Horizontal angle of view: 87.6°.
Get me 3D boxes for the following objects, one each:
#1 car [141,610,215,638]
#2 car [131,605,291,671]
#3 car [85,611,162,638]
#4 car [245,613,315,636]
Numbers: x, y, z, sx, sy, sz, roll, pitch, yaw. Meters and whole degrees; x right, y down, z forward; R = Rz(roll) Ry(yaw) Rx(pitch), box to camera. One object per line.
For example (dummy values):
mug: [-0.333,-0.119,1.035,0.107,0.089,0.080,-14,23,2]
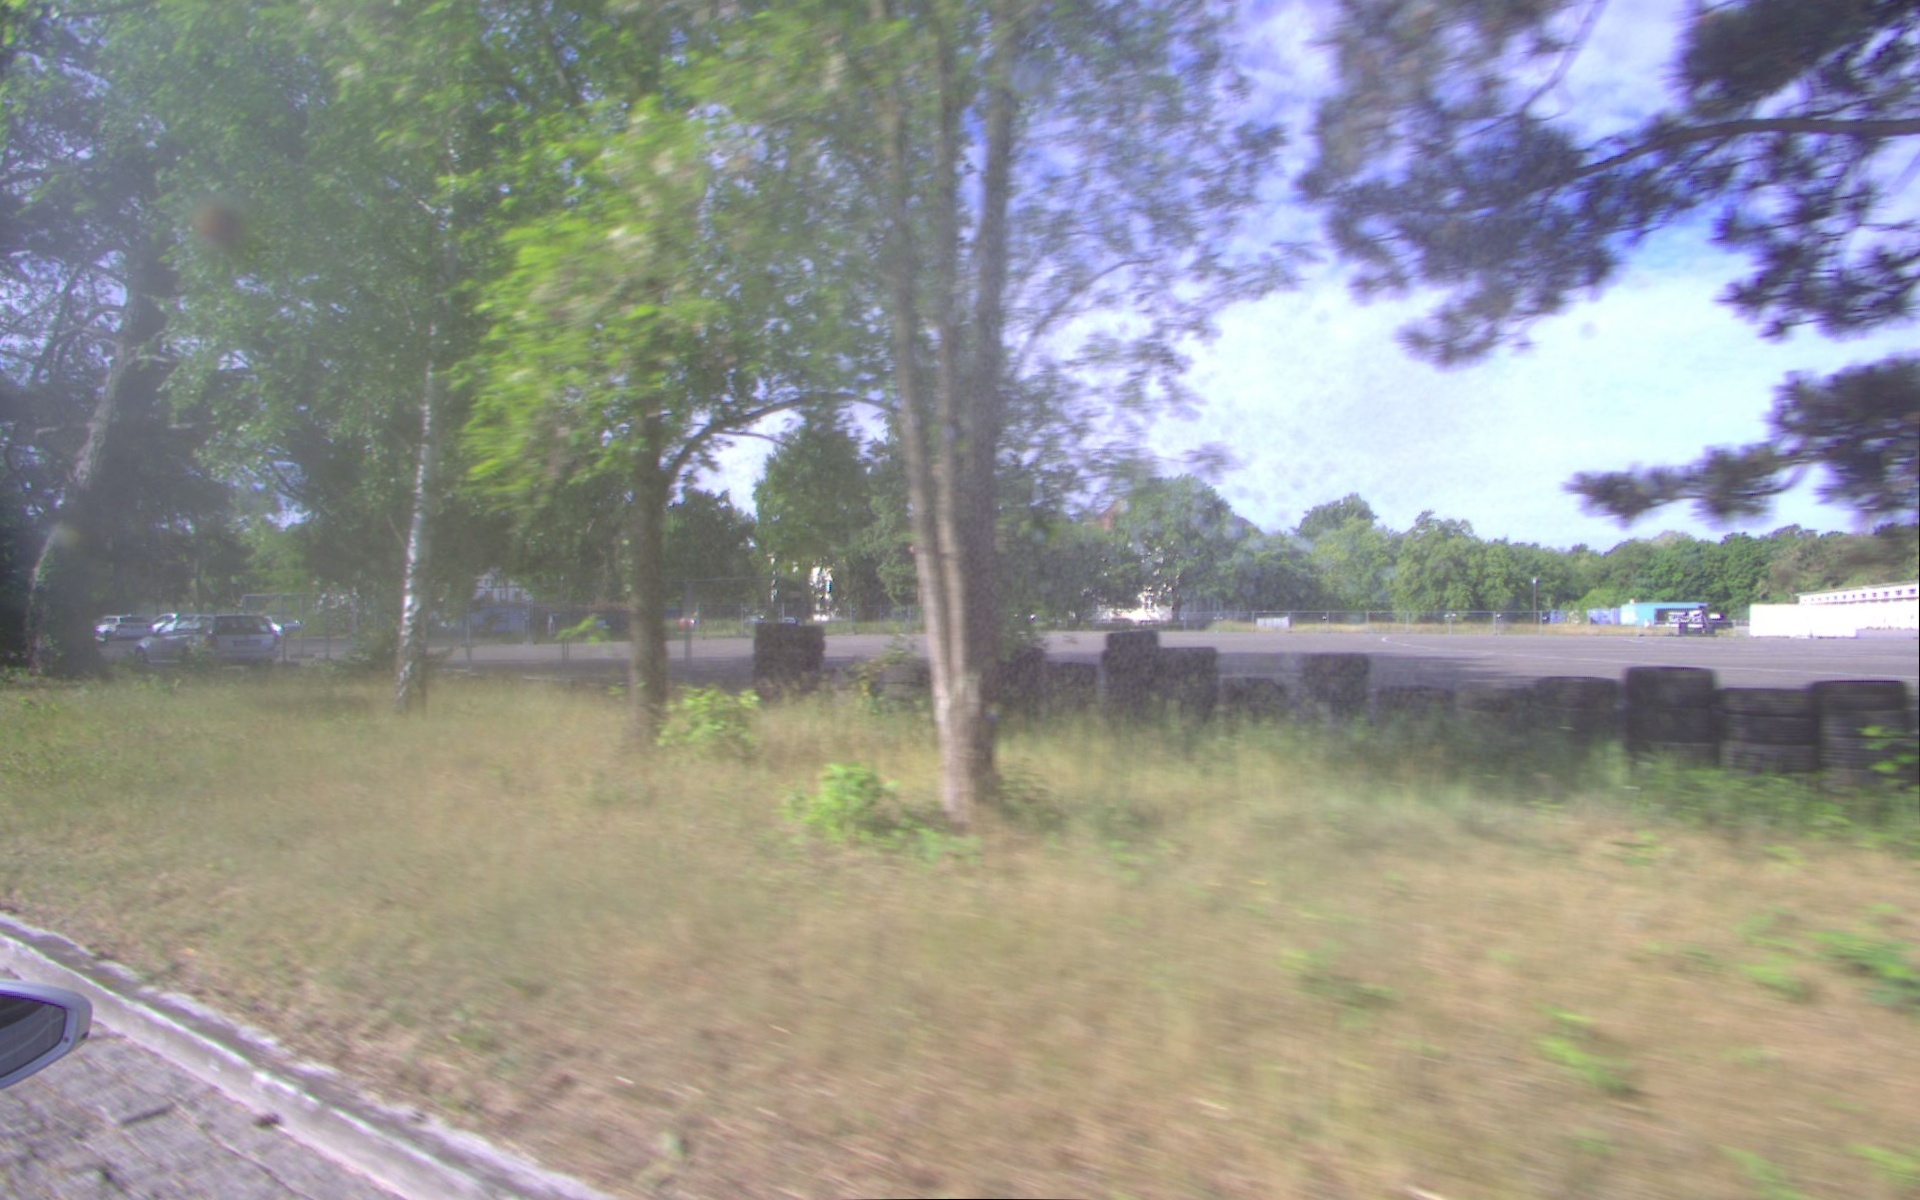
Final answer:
car: [-43.125,1.284,55.184,4.266,1.496,1.729,0,-1,29]
car: [-18.260,0.883,24.395,3.939,1.487,1.666,0,0,29]
car: [-44.202,1.274,52.884,4.265,1.329,1.729,0,-1,29]
car: [-40.779,1.464,60.035,4.266,1.329,1.729,0,0,29]
